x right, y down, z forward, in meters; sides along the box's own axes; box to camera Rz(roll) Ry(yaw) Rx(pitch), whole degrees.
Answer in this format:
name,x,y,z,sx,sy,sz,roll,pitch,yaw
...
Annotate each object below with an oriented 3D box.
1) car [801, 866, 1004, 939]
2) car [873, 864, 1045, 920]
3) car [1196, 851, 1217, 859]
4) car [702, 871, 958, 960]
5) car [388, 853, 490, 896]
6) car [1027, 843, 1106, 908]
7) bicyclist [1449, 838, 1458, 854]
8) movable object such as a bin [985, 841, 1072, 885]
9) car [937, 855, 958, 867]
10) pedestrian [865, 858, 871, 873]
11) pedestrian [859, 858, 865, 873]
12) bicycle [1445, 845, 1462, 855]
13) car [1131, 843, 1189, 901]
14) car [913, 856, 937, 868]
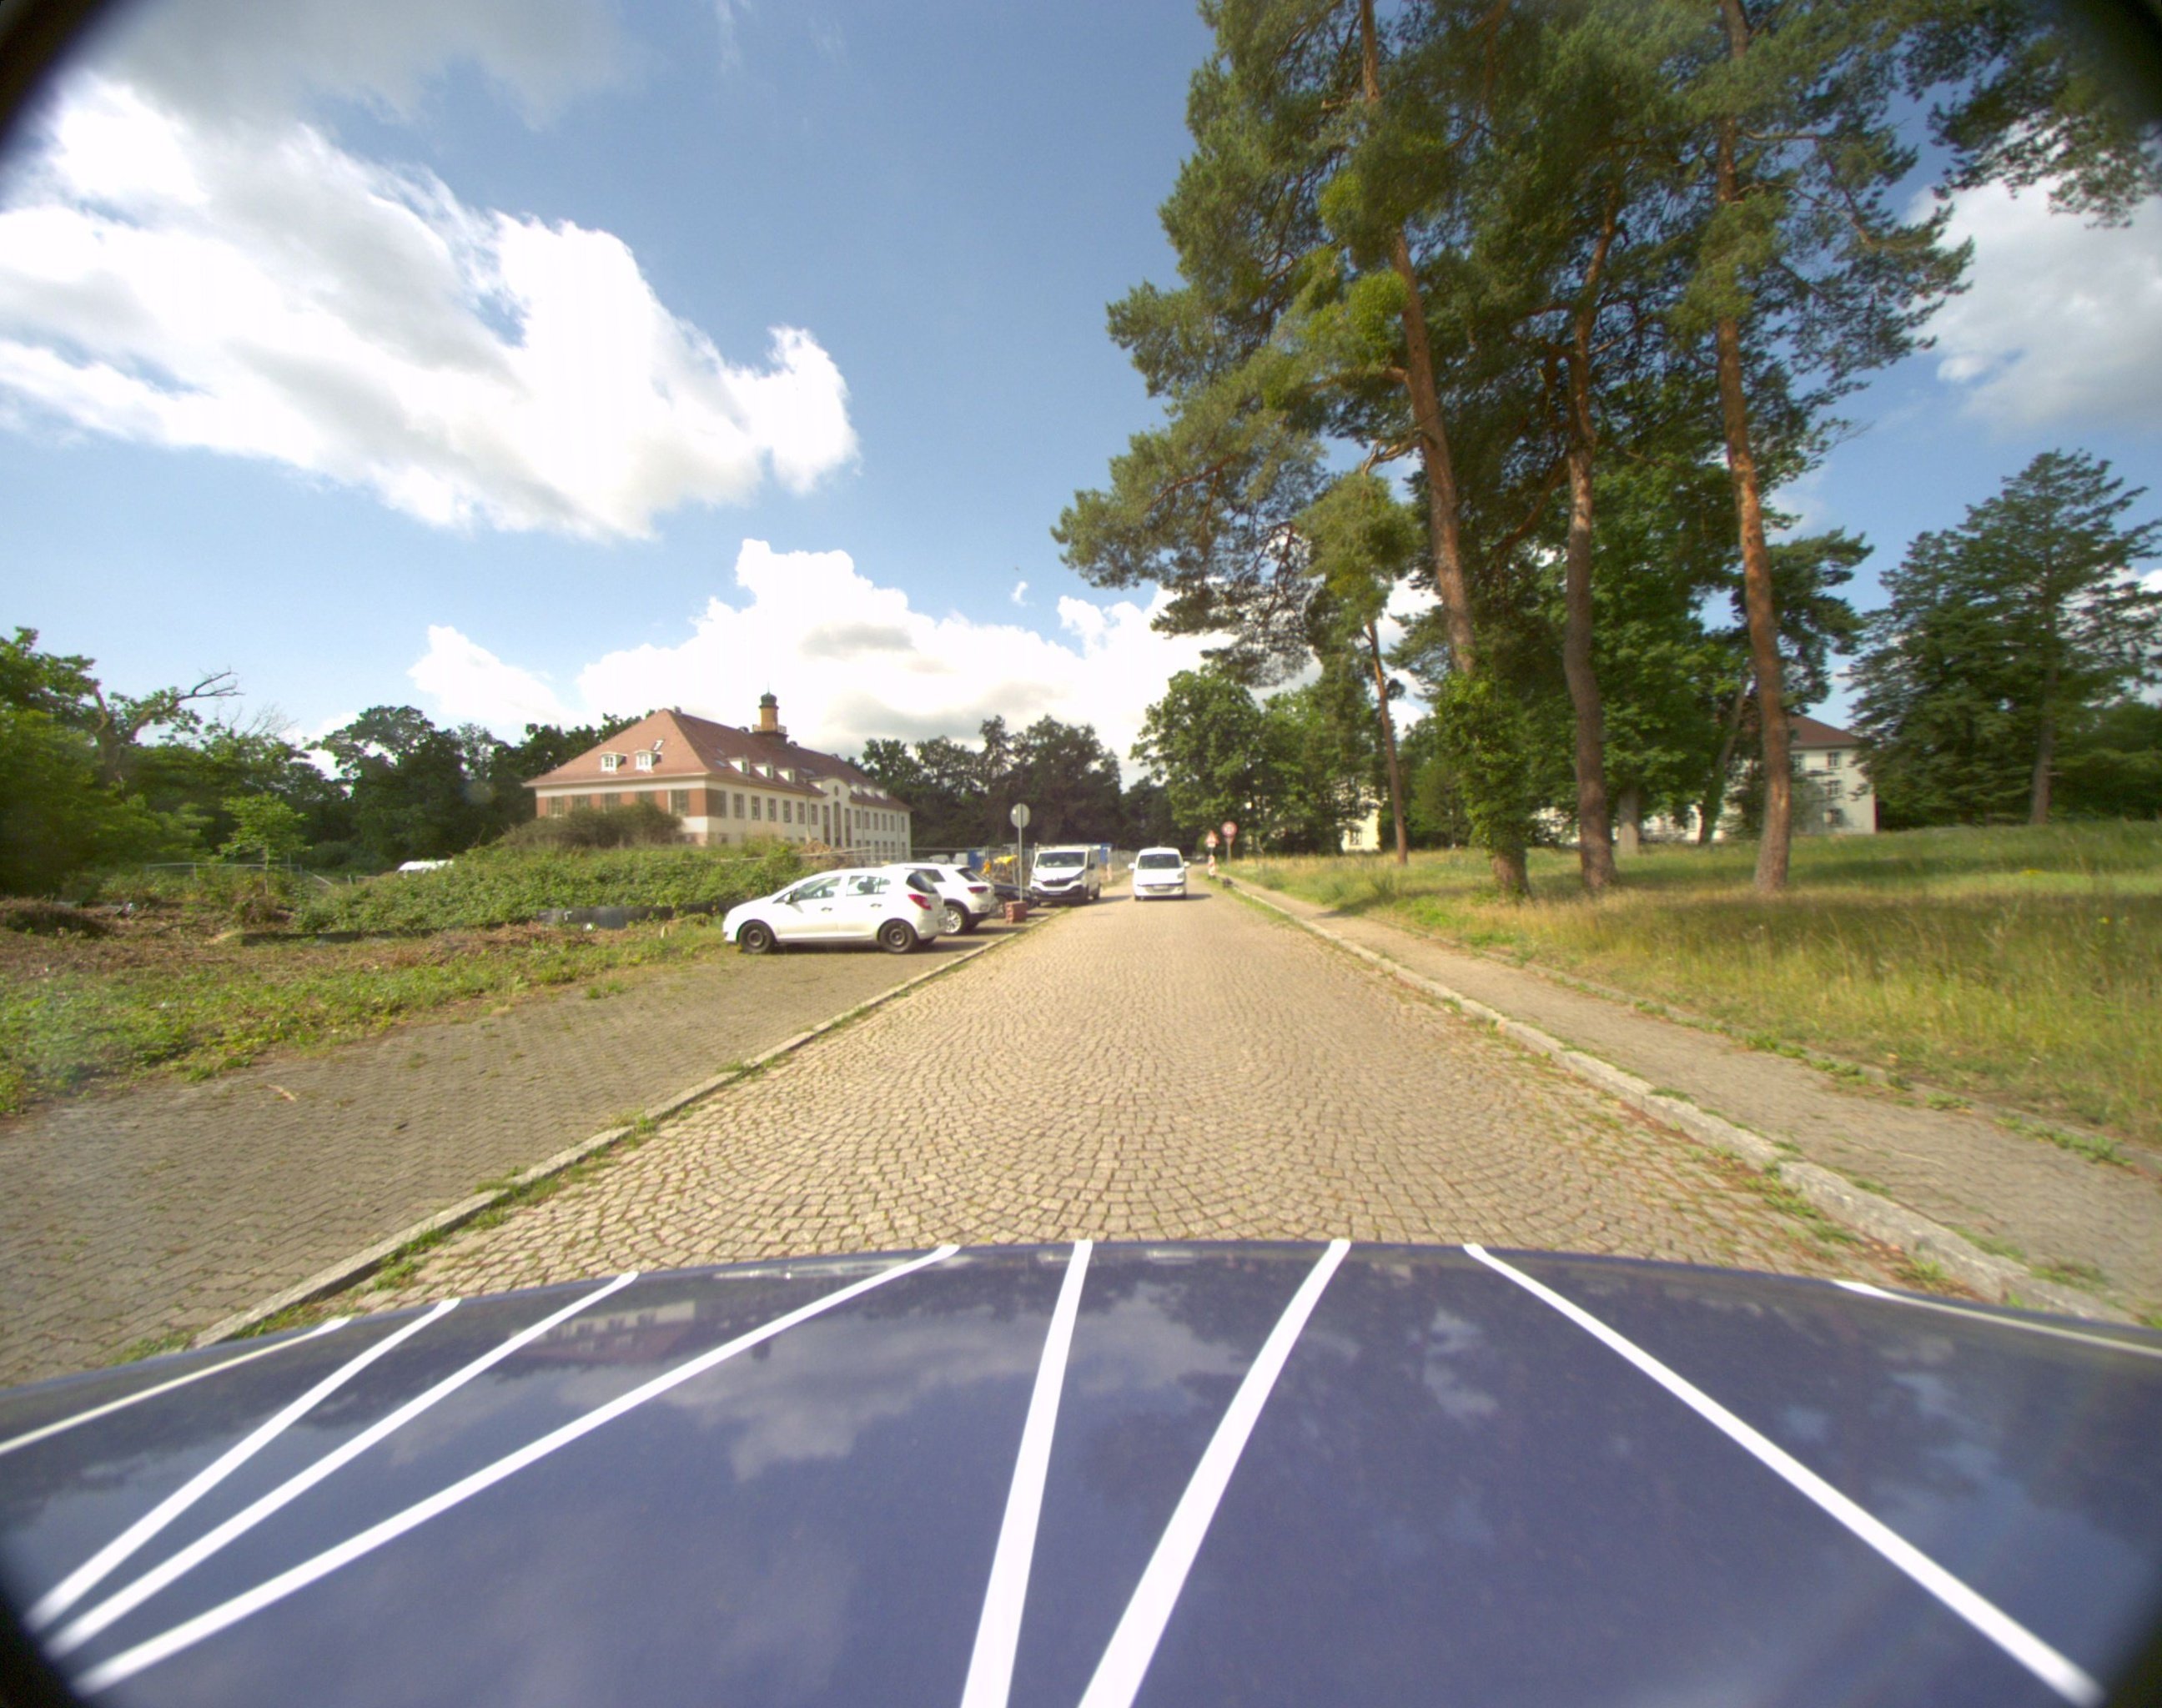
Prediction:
name,x,y,z,sx,sy,sz,roll,pitch,yaw
car,-3.851,1.034,16.797,3.995,1.498,1.747,0,1,4
car,-3.337,1.042,21.319,4.464,1.466,1.746,0,1,2
car,25.284,0.213,153.500,4.082,1.634,1.768,-2,1,6
car,-4.449,1.080,13.844,4.051,1.455,1.704,0,1,4
car,-41.836,1.331,49.539,5.428,2.576,2.249,-2,1,15
car,-0.386,0.683,27.301,1.917,2.041,5.681,-2,0,8
bicyclist,39.680,-0.839,80.985,0.570,1.760,0.635,-2,0,4
movable object such as a bin,-3.100,0.546,46.406,2.143,2.507,5.668,-1,0,35
car,-19.394,0.982,110.514,1.801,1.674,4.042,-2,0,8
pedestrian,-26.166,1.410,93.130,0.491,1.777,0.507,-2,0,4
pedestrian,-26.437,1.424,91.694,0.490,1.777,0.507,-2,0,29
bicycle,39.696,-0.449,80.983,1.556,0.990,0.635,-2,0,4
car,2.874,0.623,27.384,1.838,1.857,4.834,-2,-1,6
car,-22.776,1.156,110.818,1.883,1.718,4.710,-2,0,8
